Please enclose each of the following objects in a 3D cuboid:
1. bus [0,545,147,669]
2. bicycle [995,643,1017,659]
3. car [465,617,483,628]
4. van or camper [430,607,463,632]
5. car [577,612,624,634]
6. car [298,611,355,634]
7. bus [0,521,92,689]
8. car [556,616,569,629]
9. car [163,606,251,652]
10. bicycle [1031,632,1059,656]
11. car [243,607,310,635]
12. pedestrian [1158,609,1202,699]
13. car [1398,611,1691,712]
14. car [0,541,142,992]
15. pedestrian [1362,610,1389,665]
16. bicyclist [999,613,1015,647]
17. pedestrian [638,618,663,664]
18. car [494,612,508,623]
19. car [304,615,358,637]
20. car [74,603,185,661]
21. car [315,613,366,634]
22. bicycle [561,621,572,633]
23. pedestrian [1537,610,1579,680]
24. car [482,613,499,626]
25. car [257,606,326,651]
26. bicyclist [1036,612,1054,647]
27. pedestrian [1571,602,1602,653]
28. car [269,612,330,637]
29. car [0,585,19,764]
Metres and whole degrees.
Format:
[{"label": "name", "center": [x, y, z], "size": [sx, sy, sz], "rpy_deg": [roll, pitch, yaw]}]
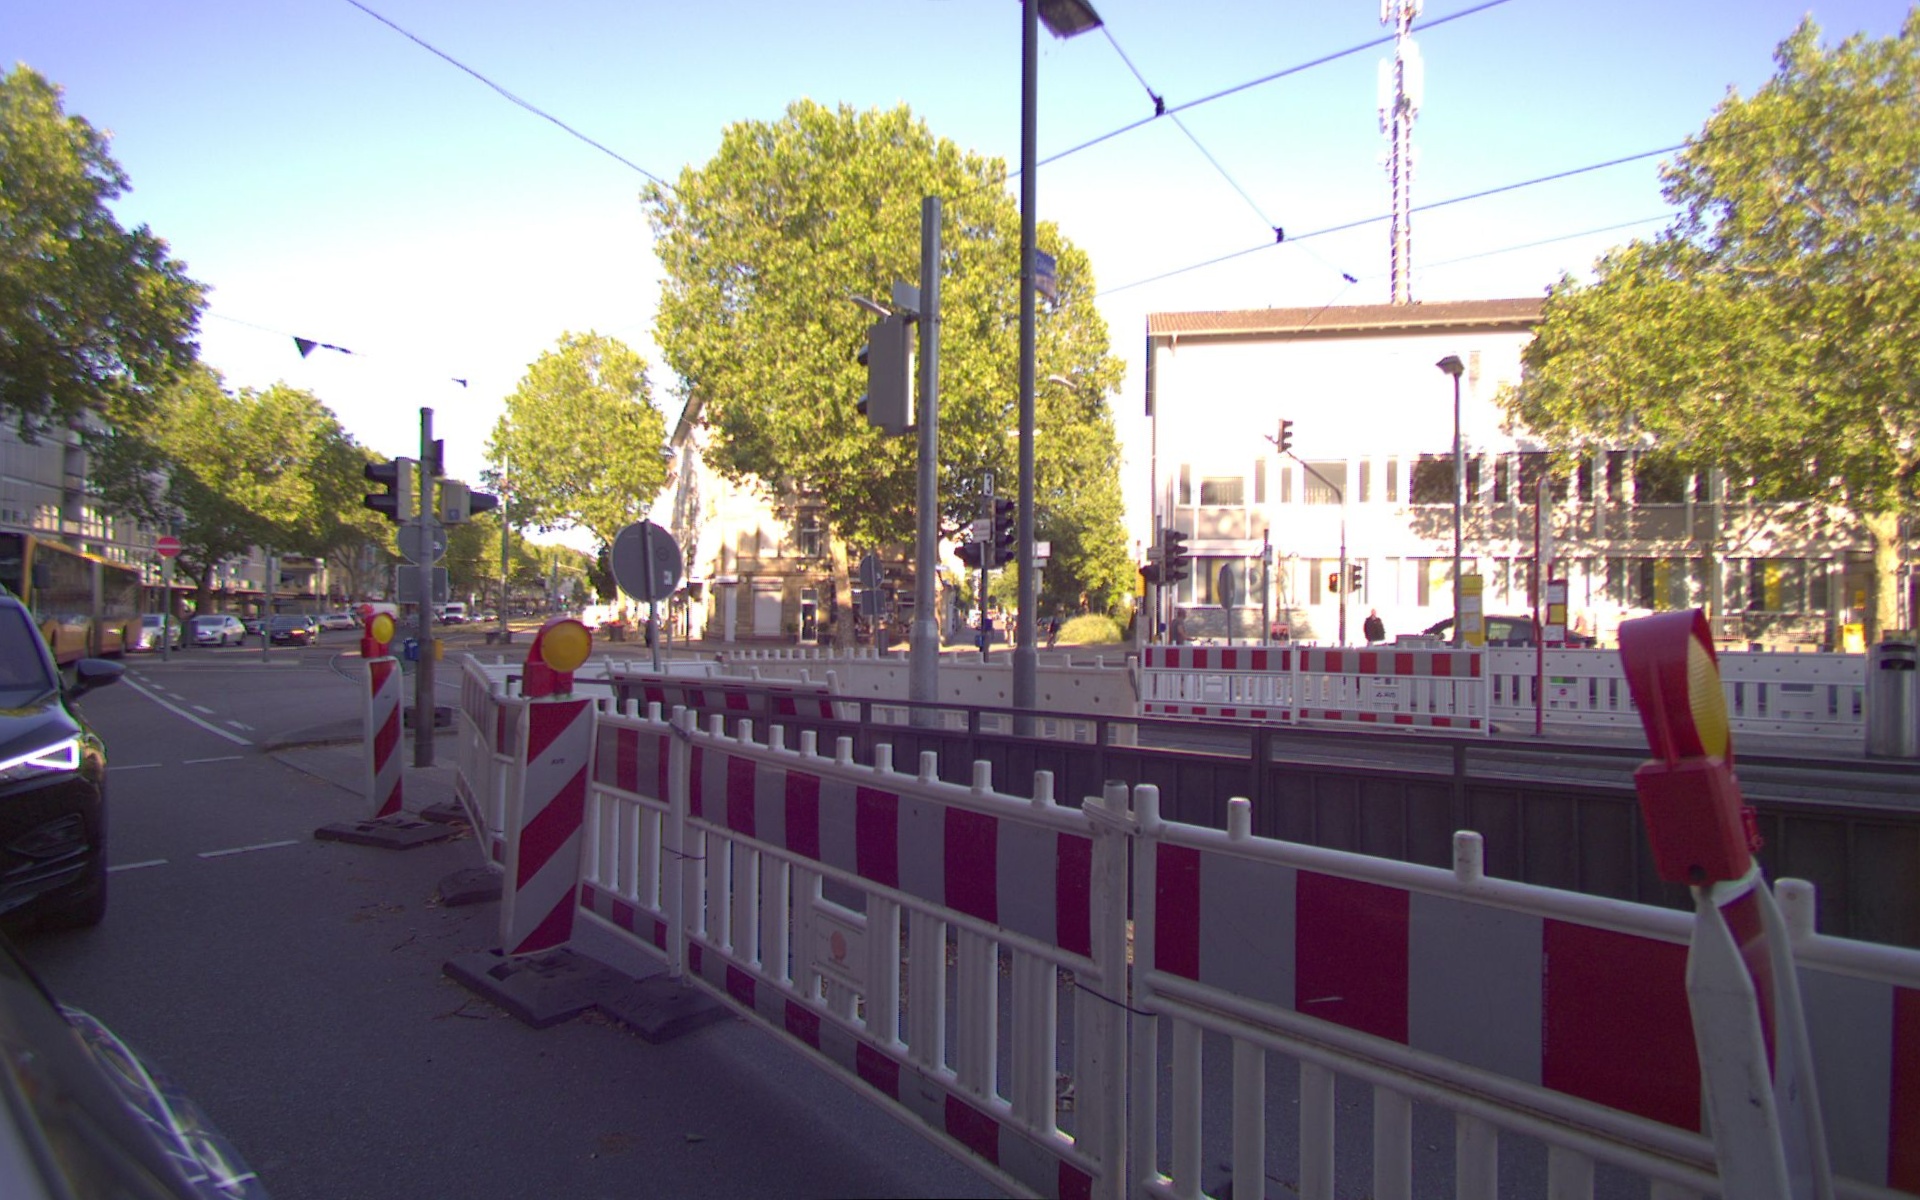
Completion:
[{"label": "bus", "center": [-26.001, 0.252, 29.234], "size": [2.676, 3.130, 8.622], "rpy_deg": [1, -2, -31]}, {"label": "bicycle", "center": [2.442, 2.673, 53.267], "size": [0.676, 0.788, 1.979], "rpy_deg": [0, -1, 17]}, {"label": "car", "center": [-63.575, 2.936, 132.387], "size": [1.675, 1.481, 3.776], "rpy_deg": [1, -2, -19]}, {"label": "van or camper", "center": [-57.904, 2.251, 114.268], "size": [2.385, 2.739, 6.151], "rpy_deg": [1, -1, -18]}, {"label": "car", "center": [-34.442, 2.216, 97.066], "size": [1.990, 2.029, 3.963], "rpy_deg": [0, -2, 27]}, {"label": "car", "center": [-55.985, 1.992, 89.418], "size": [3.938, 2.029, 2.002], "rpy_deg": [1, -2, -42]}, {"label": "bus", "center": [-21.070, 0.149, 21.966], "size": [2.678, 3.130, 8.641], "rpy_deg": [1, -2, -36]}, {"label": "car", "center": [-66.555, 3.780, 169.375], "size": [1.965, 2.029, 4.013], "rpy_deg": [1, -1, -20]}, {"label": "car", "center": [-34.889, 1.336, 47.022], "size": [1.966, 2.029, 4.012], "rpy_deg": [1, -1, -17]}, {"label": "bicycle", "center": [3.765, 1.938, 44.930], "size": [0.667, 1.039, 2.195], "rpy_deg": [1, -1, -11]}, {"label": "car", "center": [-50.562, 1.589, 74.957], "size": [3.932, 2.029, 2.006], "rpy_deg": [1, -2, -31]}, {"label": "pedestrian", "center": [4.400, 1.058, 20.231], "size": [0.545, 1.760, 0.693], "rpy_deg": [1, -2, -24]}, {"label": "car", "center": [10.887, 1.072, 19.011], "size": [4.552, 1.674, 1.974], "rpy_deg": [-1, -2, 38]}, {"label": "car", "center": [-5.488, 0.646, 4.807], "size": [3.998, 1.719, 1.818], "rpy_deg": [-1, -2, 41]}, {"label": "pedestrian", "center": [12.126, 1.083, 29.531], "size": [0.649, 1.564, 0.563], "rpy_deg": [-1, -2, 28]}, {"label": "bicyclist", "center": [2.469, 1.573, 53.216], "size": [0.668, 1.741, 0.761], "rpy_deg": [0, -2, 17]}, {"label": "pedestrian", "center": [-10.662, 1.412, 34.883], "size": [0.594, 1.545, 0.746], "rpy_deg": [1, -2, -38]}, {"label": "car", "center": [-77.571, 3.036, 171.114], "size": [1.809, 1.816, 4.143], "rpy_deg": [1, -2, -19]}, {"label": "car", "center": [-58.486, 2.388, 94.116], "size": [3.938, 2.029, 2.002], "rpy_deg": [1, -2, -42]}, {"label": "car", "center": [-30.867, 1.165, 37.771], "size": [1.965, 2.029, 4.111], "rpy_deg": [1, -1, -21]}, {"label": "car", "center": [-60.264, 2.263, 98.527], "size": [3.938, 2.029, 2.002], "rpy_deg": [1, -2, -42]}, {"label": "bicycle", "center": [-39.105, 2.673, 100.585], "size": [0.837, 1.202, 2.474], "rpy_deg": [1, -1, -23]}, {"label": "pedestrian", "center": [15.976, 1.193, 27.067], "size": [0.923, 1.847, 0.693], "rpy_deg": [-1, -2, 28]}, {"label": "car", "center": [-69.007, 2.846, 148.835], "size": [1.809, 1.816, 4.143], "rpy_deg": [1, -2, -19]}, {"label": "car", "center": [-31.668, 1.360, 48.071], "size": [1.965, 2.029, 4.013], "rpy_deg": [1, -1, -22]}, {"label": "bicyclist", "center": [3.771, 1.304, 44.883], "size": [0.567, 1.538, 0.847], "rpy_deg": [1, -1, -10]}, {"label": "pedestrian", "center": [18.357, 0.799, 29.652], "size": [0.580, 1.466, 0.584], "rpy_deg": [0, -2, 12]}, {"label": "car", "center": [-53.912, 1.992, 82.615], "size": [3.938, 2.029, 2.002], "rpy_deg": [1, -2, -42]}, {"label": "car", "center": [-11.012, 0.697, 10.085], "size": [4.073, 1.656, 1.973], "rpy_deg": [-1, -2, 41]}]
